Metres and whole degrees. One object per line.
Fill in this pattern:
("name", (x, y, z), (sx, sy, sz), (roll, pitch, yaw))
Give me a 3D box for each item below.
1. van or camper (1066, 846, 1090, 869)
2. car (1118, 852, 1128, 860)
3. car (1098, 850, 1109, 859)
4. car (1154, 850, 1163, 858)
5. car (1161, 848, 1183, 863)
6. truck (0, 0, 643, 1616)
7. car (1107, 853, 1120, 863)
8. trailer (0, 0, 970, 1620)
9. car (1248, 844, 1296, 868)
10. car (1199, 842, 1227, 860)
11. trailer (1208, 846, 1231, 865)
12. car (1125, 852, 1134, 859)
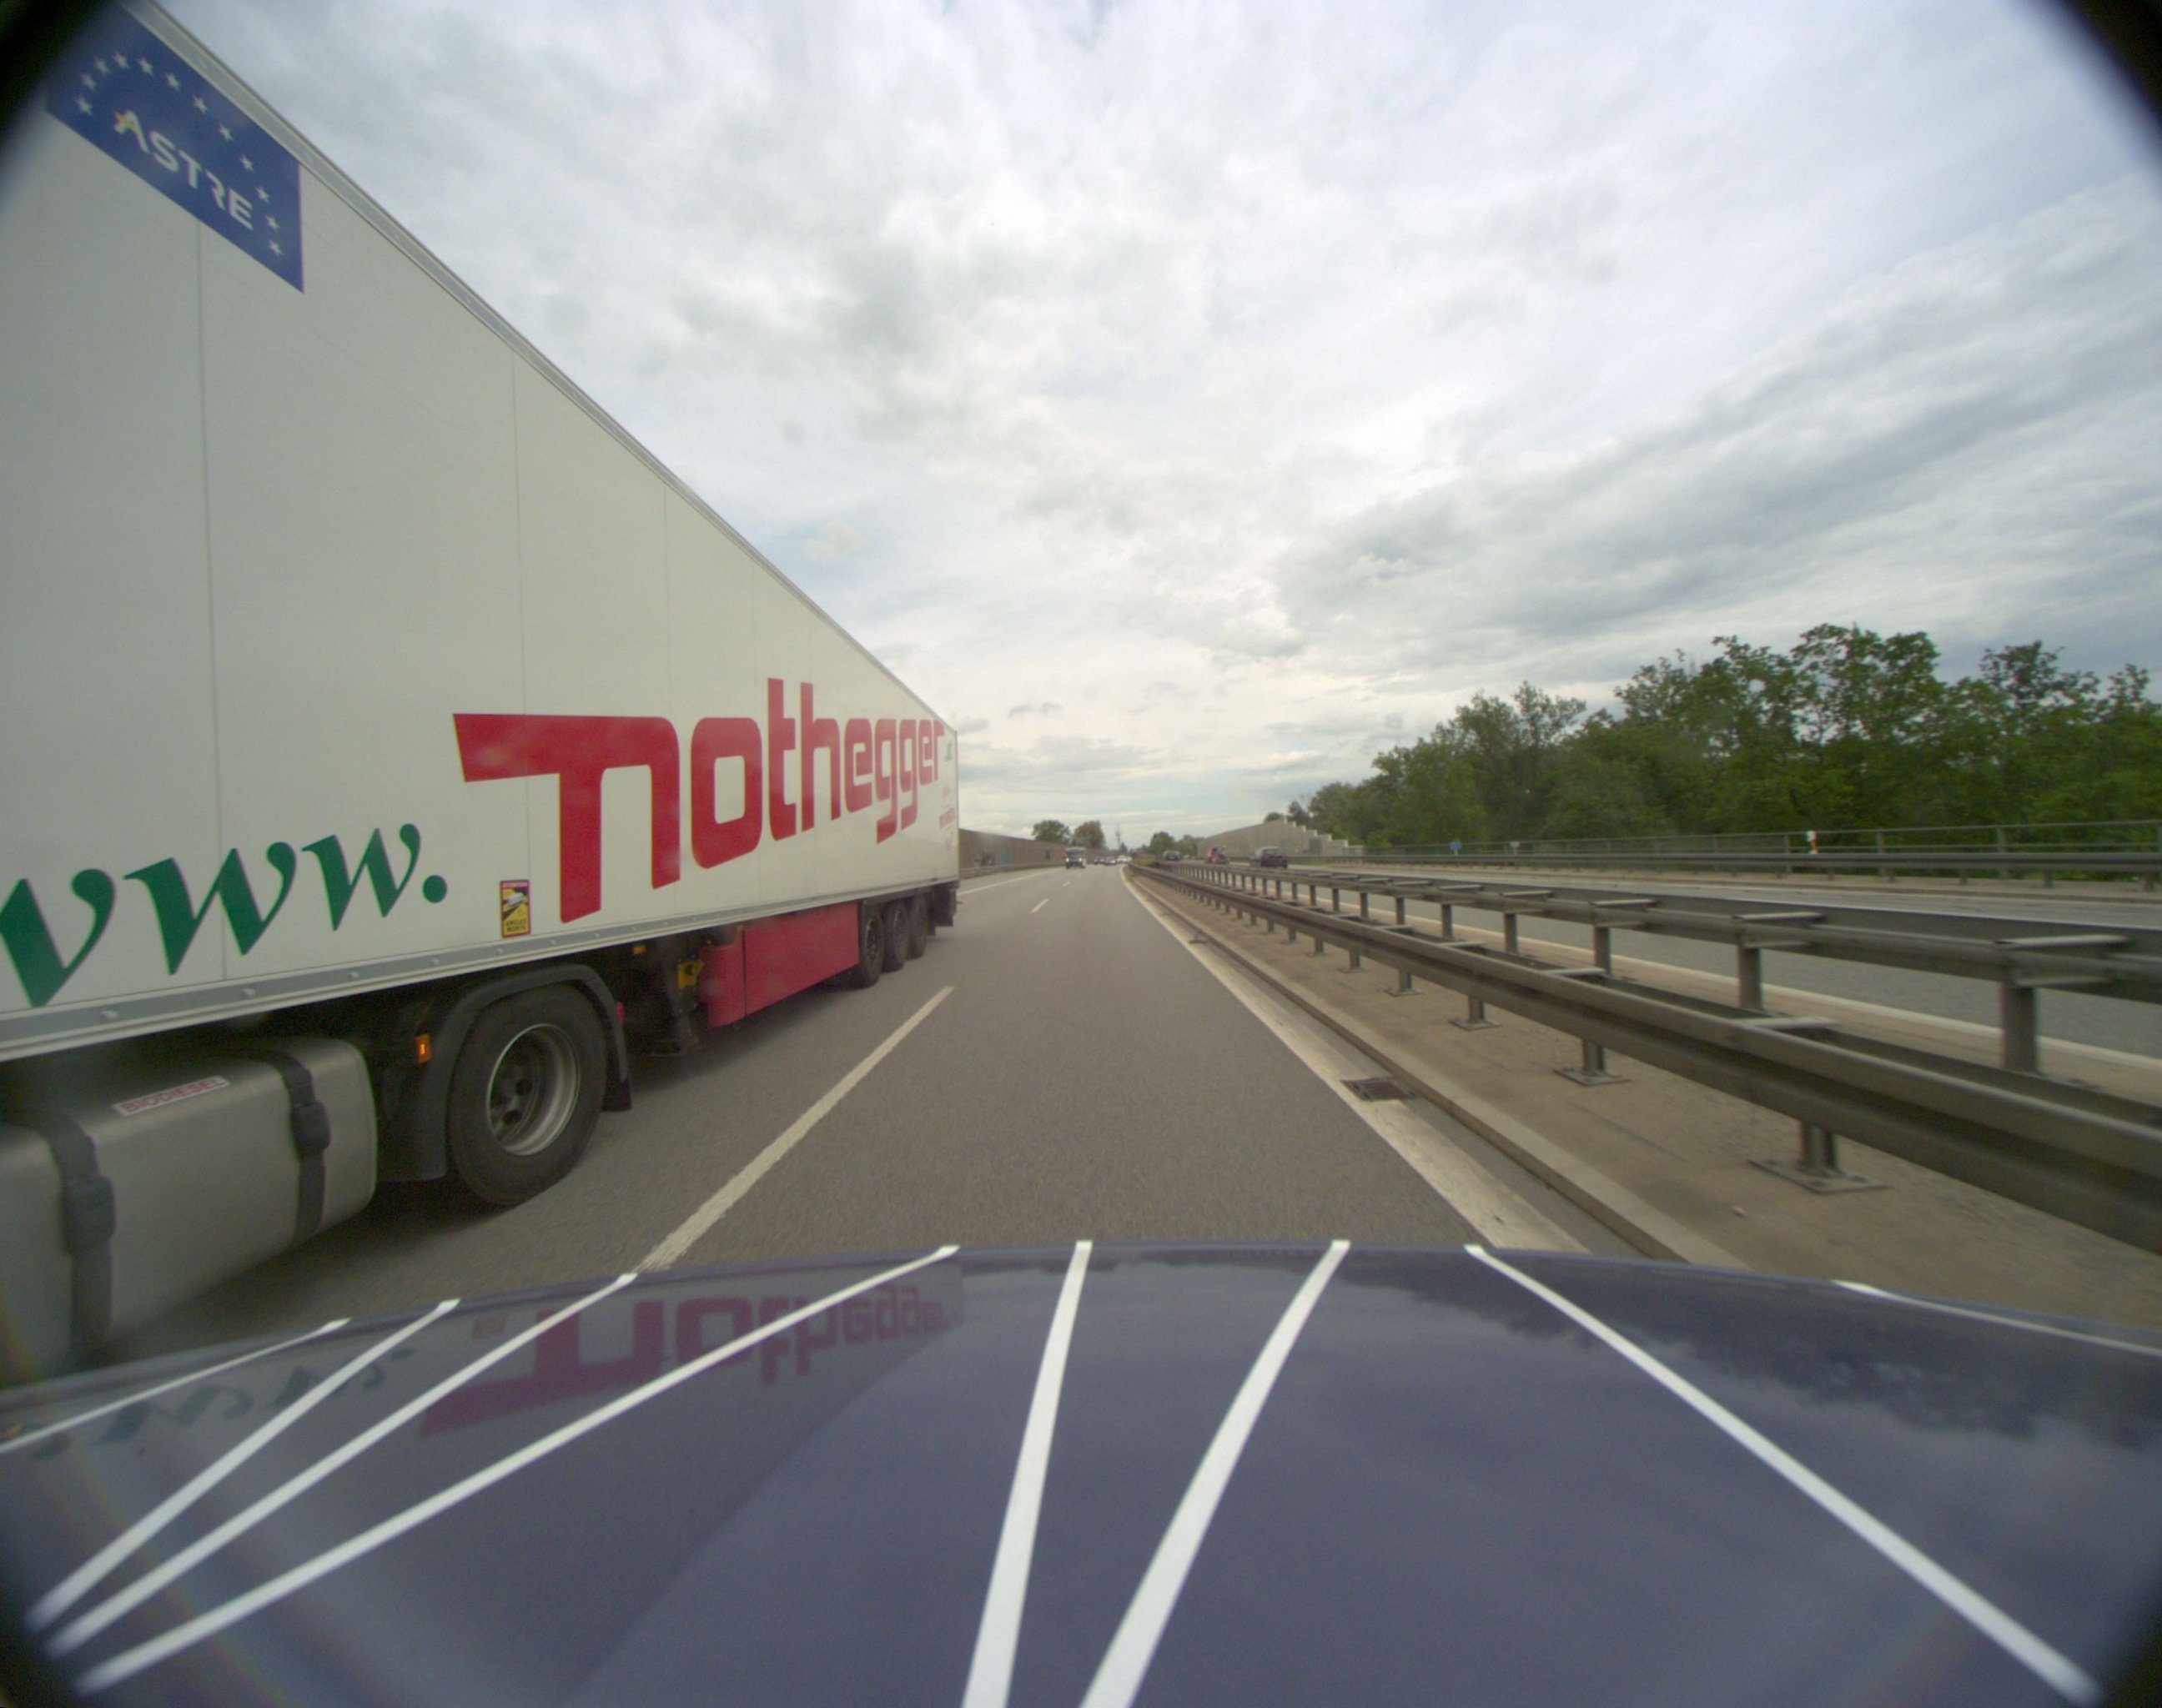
("van or camper", (-0.327, 0.524, 95.971), (2.434, 2.680, 7.229), (-2, -1, 4))
("car", (8.726, 0.401, 156.891), (1.888, 1.608, 4.002), (-1, -1, 6))
("car", (4.371, 0.174, 145.977), (1.888, 1.608, 4.002), (-1, -1, 6))
("car", (20.809, 0.053, 203.566), (1.998, 1.874, 4.557), (-2, 0, 3))
("car", (9.559, 0.140, 79.721), (1.845, 1.522, 4.836), (-1, 0, 2))
("truck", (-3.857, -0.232, 1.242), (2.762, 3.936, 5.677), (-2, 0, 2))
("car", (5.230, 0.710, 123.064), (1.889, 1.608, 4.002), (-1, -1, 5))
("trailer", (-3.747, -0.353, 8.175), (2.799, 4.150, 14.103), (-2, 0, 1))
("car", (12.078, 0.134, 48.413), (1.974, 1.395, 4.710), (-1, 0, 2))
("car", (13.311, -0.282, 76.867), (1.974, 1.751, 4.945), (-2, 0, 2))
("trailer", (13.231, 0.129, 72.675), (1.652, 1.738, 3.376), (-3, 0, 2))
("car", (12.133, 0.264, 190.426), (1.888, 1.609, 4.001), (-2, 1, 7))
